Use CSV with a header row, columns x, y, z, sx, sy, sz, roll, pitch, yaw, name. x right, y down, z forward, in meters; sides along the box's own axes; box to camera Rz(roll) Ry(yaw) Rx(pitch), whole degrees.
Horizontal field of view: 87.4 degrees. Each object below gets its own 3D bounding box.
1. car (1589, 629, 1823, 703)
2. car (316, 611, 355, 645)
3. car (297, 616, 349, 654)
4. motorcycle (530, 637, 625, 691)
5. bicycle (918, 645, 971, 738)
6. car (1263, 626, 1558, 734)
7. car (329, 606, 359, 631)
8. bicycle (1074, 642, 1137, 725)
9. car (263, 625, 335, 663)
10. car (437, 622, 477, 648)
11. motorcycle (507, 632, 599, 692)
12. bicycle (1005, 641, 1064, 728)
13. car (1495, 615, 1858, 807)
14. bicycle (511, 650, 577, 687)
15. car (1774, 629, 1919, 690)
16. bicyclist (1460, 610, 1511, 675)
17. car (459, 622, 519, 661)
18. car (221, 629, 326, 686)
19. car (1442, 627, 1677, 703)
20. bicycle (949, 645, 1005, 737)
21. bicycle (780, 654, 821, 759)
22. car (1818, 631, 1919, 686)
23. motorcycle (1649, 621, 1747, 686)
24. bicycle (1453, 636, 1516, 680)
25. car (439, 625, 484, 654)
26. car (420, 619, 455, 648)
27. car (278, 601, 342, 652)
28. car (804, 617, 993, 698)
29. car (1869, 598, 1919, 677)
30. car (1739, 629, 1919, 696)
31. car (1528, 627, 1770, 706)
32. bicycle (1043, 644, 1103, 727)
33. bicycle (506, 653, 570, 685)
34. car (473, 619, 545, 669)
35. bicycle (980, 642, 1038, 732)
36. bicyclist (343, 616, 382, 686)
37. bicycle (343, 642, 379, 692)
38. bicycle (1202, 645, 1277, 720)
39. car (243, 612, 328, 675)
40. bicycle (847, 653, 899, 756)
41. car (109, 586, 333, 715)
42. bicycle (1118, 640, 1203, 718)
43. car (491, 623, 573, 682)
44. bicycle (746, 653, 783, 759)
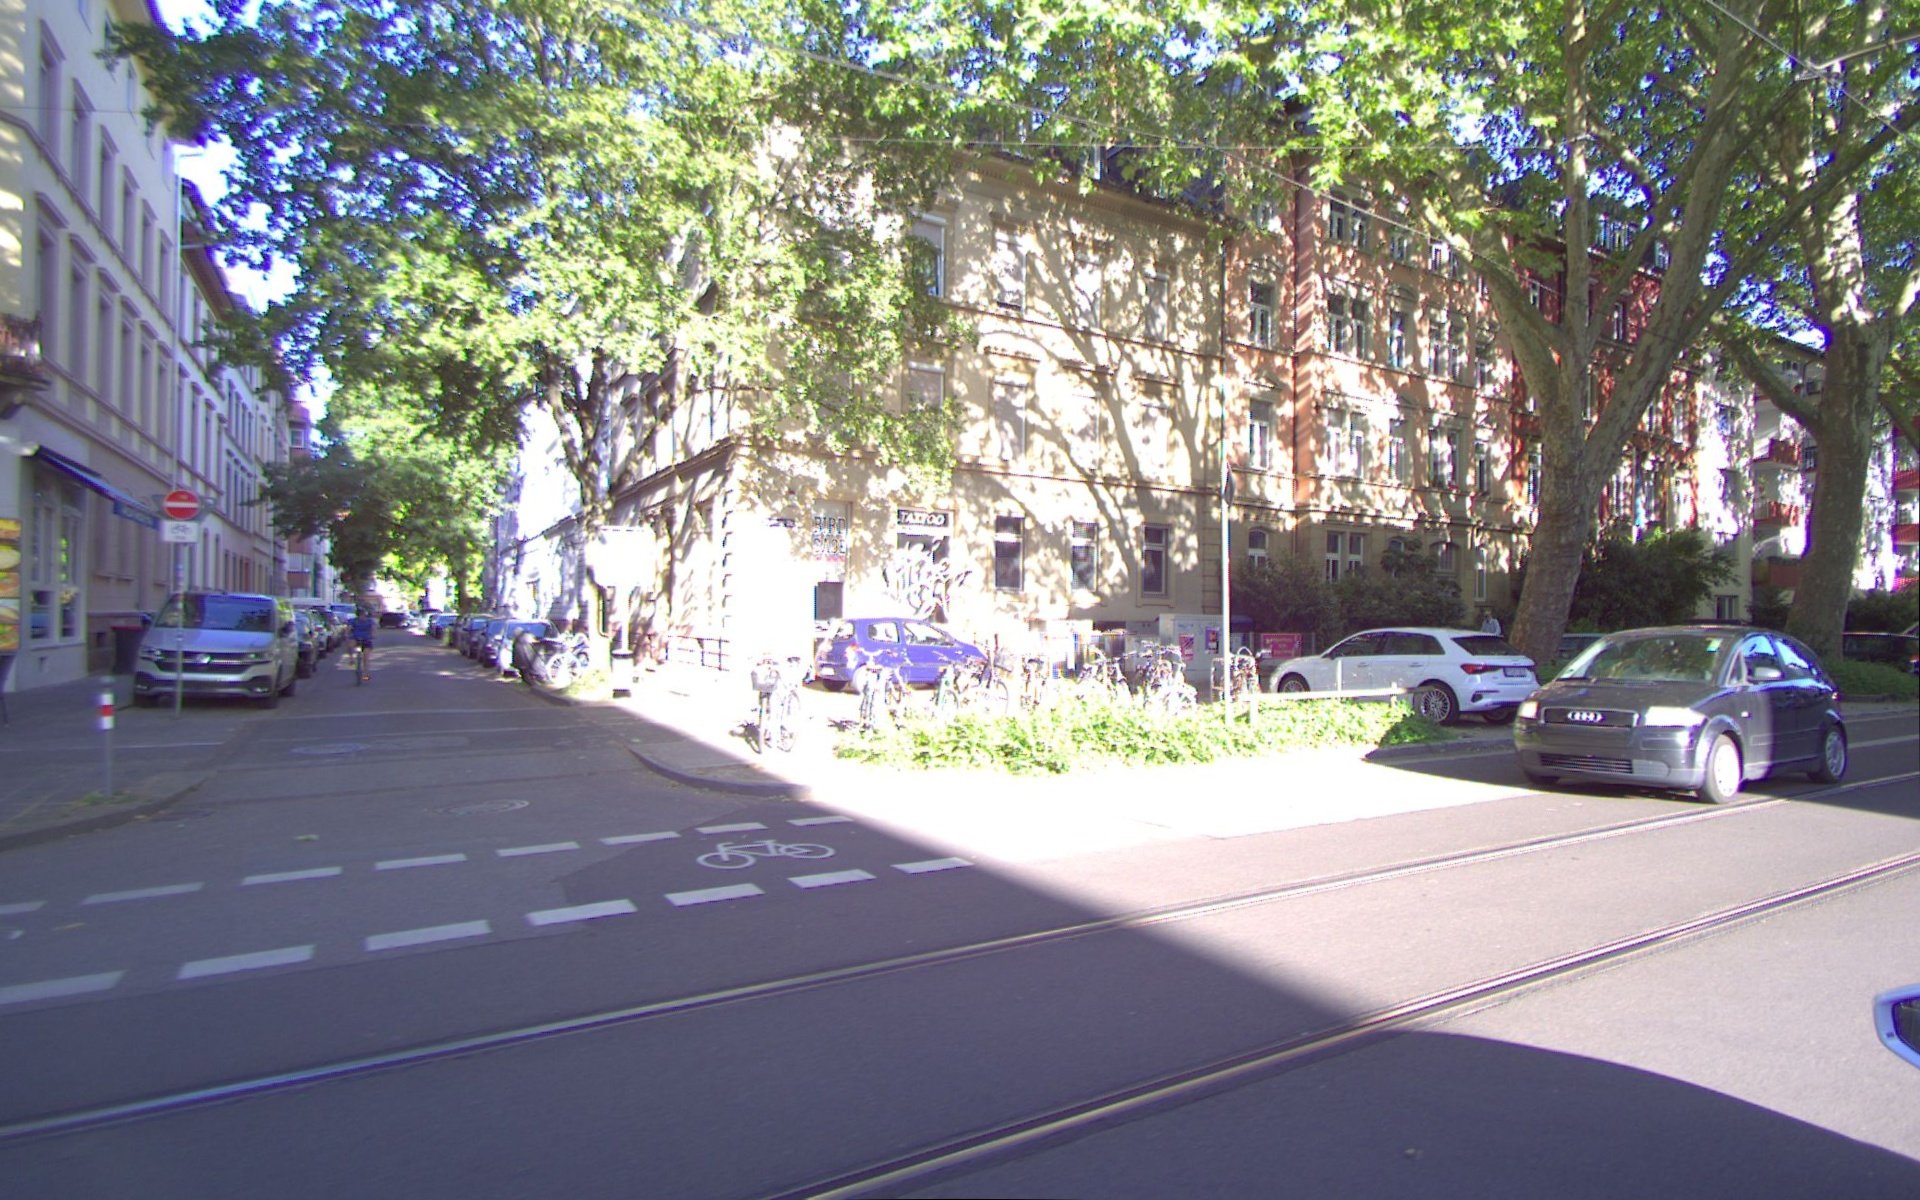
x,y,z,sx,sy,sz,roll,pitch,yaw,name
16.893,1.436,22.956,1.683,1.479,3.971,1,-1,-28,car
-32.729,1.476,52.704,1.524,1.717,3.137,1,-1,-29,car
-26.910,1.447,42.485,1.597,1.514,3.582,1,-1,-29,car
-8.124,1.346,21.391,1.826,1.086,0.524,2,-1,-44,motorcycle
-0.223,1.161,13.180,0.389,1.102,1.560,1,-1,-12,bicycle
7.011,1.189,16.010,1.857,1.479,3.967,3,-3,-31,car
-43.377,1.305,70.722,1.736,1.721,3.369,1,-1,-32,car
2.102,1.190,14.674,0.389,1.102,1.560,1,-1,-12,bicycle
-22.146,1.444,33.752,1.735,1.193,3.373,1,-1,-29,car
-25.743,1.749,51.381,1.589,1.265,3.289,1,-1,-31,car
-9.005,1.367,22.239,1.850,1.278,0.586,1,-1,-26,motorcycle
1.017,1.138,13.940,0.389,1.102,1.560,1,-1,-12,bicycle
6.964,0.930,9.685,3.651,1.530,1.626,1,-1,-33,car
-10.045,1.644,24.256,1.435,0.871,0.395,1,-1,-29,bicycle
24.787,1.582,27.141,1.808,1.516,3.969,1,-1,-29,car
14.616,1.172,27.938,1.036,1.786,0.826,1,-1,-31,bicyclist
-17.071,1.469,36.328,1.735,1.322,3.885,1,-1,-29,car
-16.844,1.389,24.775,1.736,1.193,3.373,4,-3,-29,car
12.301,1.276,20.873,1.586,1.387,3.969,1,-1,-29,car
0.204,1.176,13.351,0.389,1.102,1.560,1,-1,-12,bicycle
-1.939,1.228,12.089,0.389,1.102,1.858,1,-1,-12,bicycle
26.991,1.655,28.421,1.683,1.451,3.793,1,-1,-28,car
20.207,1.447,27.476,2.977,1.653,1.046,2,0,-31,motorcycle
14.600,1.596,27.950,1.760,1.154,0.738,1,-1,-31,bicycle
-23.281,1.821,46.847,1.589,1.247,3.289,1,-1,-31,car
-30.205,1.909,58.042,1.589,1.572,3.289,1,-1,-31,car
-24.332,0.986,37.696,1.735,1.812,3.373,1,-1,-29,car
-1.205,1.106,20.055,3.453,1.479,1.589,2,-1,-34,car
32.924,1.237,31.864,2.137,2.570,5.714,1,0,-30,car
22.611,1.542,25.787,1.684,1.479,3.776,1,0,-29,car
14.652,1.351,21.590,1.748,1.479,3.971,1,-1,-28,car
1.625,1.204,14.580,0.389,1.102,1.560,1,-1,-12,bicycle
-10.435,1.698,24.852,1.435,0.742,0.395,1,-1,-29,bicycle
-14.166,1.330,31.432,1.735,1.429,3.885,1,-1,-29,car
0.632,1.127,13.457,0.389,1.102,1.560,1,-1,-12,bicycle
-13.577,1.145,22.812,0.729,1.546,0.861,1,-1,-33,bicyclist
-13.540,1.493,22.688,0.622,1.045,1.860,1,-1,-32,bicycle
4.319,1.249,15.639,0.586,1.057,1.806,1,-1,-3,bicycle
-19.436,1.229,29.070,1.735,1.715,3.151,1,-1,-29,car
-1.085,1.225,12.272,0.389,1.102,1.858,1,-1,-12,bicycle
-12.745,0.846,17.704,2.100,1.905,4.561,4,-2,-24,car
3.071,1.185,15.573,0.587,1.102,1.921,1,-1,-12,bicycle
-11.698,1.378,27.358,1.735,1.483,3.373,1,-1,-29,car
-2.349,1.216,12.000,0.389,1.102,1.858,1,-1,-12,bicycle
